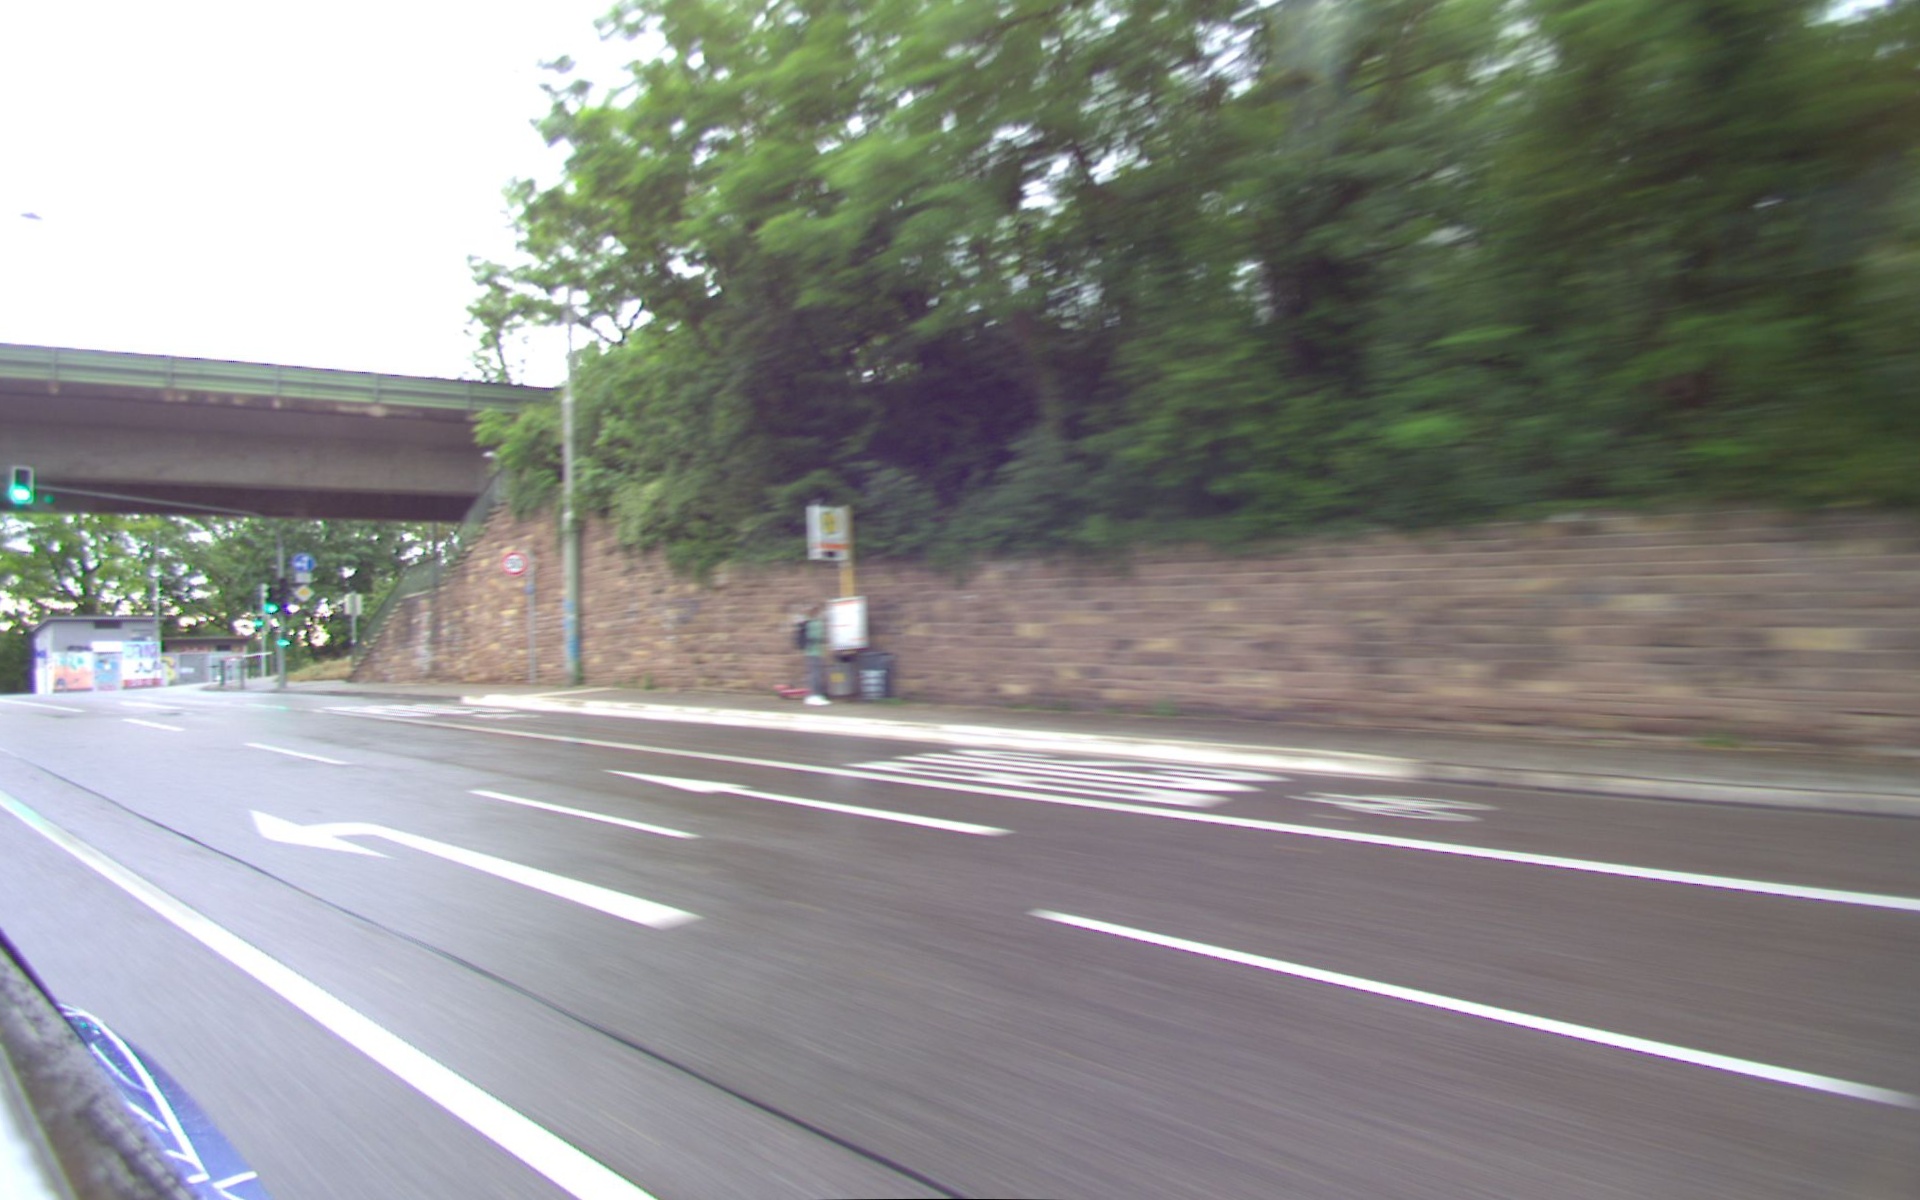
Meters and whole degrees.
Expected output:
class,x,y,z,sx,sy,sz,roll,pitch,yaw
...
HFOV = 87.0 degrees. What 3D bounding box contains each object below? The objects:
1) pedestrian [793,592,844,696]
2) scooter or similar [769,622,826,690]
class,x,y,z,sx,sy,sz,roll,pitch,yaw
pedestrian,-2.414,0.734,17.309,0.622,1.745,0.582,-1,0,38
scooter or similar,-2.955,0.997,18.402,1.124,1.190,0.370,-1,0,40
